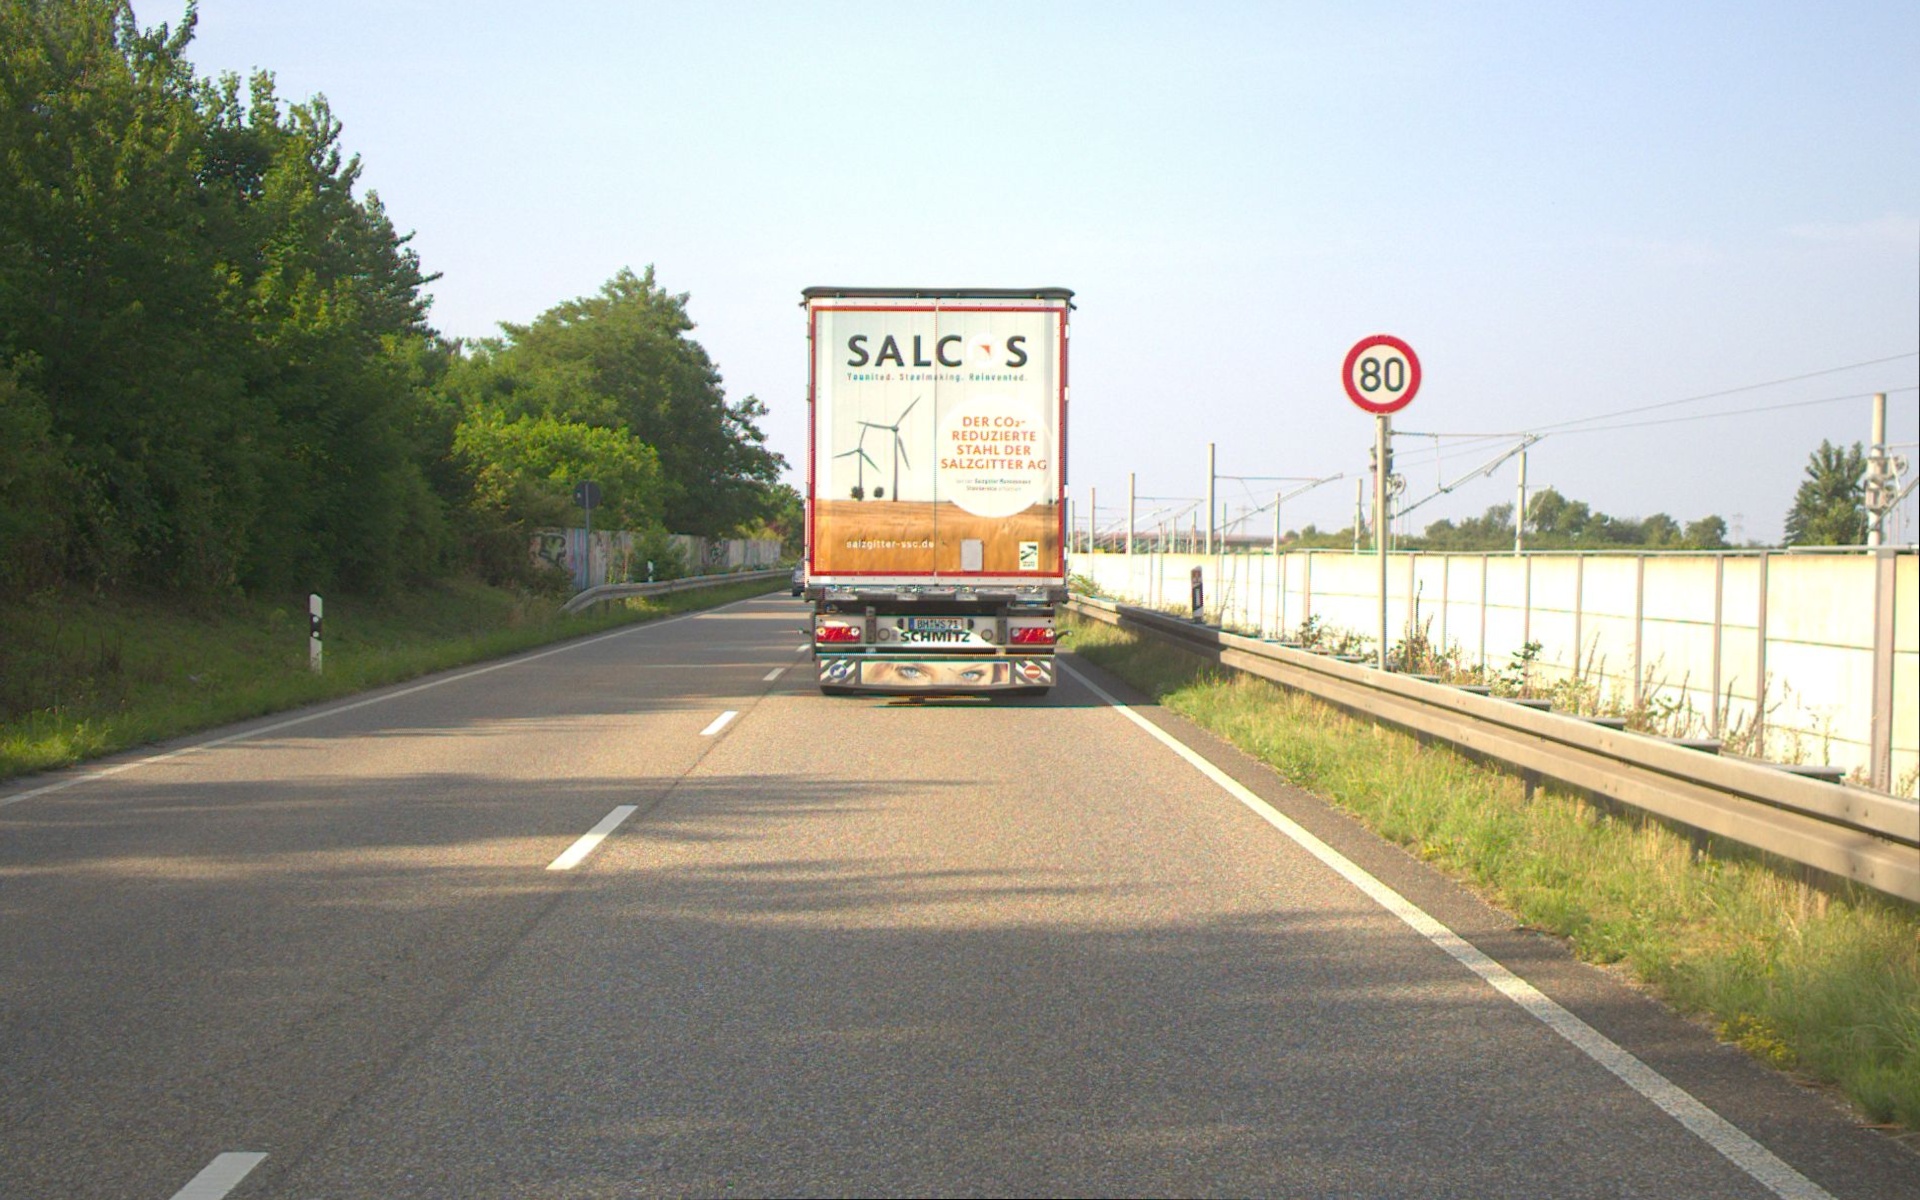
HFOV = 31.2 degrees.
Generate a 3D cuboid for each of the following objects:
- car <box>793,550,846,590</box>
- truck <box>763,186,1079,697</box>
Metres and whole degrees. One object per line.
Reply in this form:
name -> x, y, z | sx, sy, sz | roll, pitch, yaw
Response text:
car -> -4.976, -1.054, 121.966 | 1.719, 1.389, 4.361 | 0, 0, 0
truck -> -0.579, -1.626, 38.861 | 3.033, 4.903, 11.685 | 0, 1, -2
